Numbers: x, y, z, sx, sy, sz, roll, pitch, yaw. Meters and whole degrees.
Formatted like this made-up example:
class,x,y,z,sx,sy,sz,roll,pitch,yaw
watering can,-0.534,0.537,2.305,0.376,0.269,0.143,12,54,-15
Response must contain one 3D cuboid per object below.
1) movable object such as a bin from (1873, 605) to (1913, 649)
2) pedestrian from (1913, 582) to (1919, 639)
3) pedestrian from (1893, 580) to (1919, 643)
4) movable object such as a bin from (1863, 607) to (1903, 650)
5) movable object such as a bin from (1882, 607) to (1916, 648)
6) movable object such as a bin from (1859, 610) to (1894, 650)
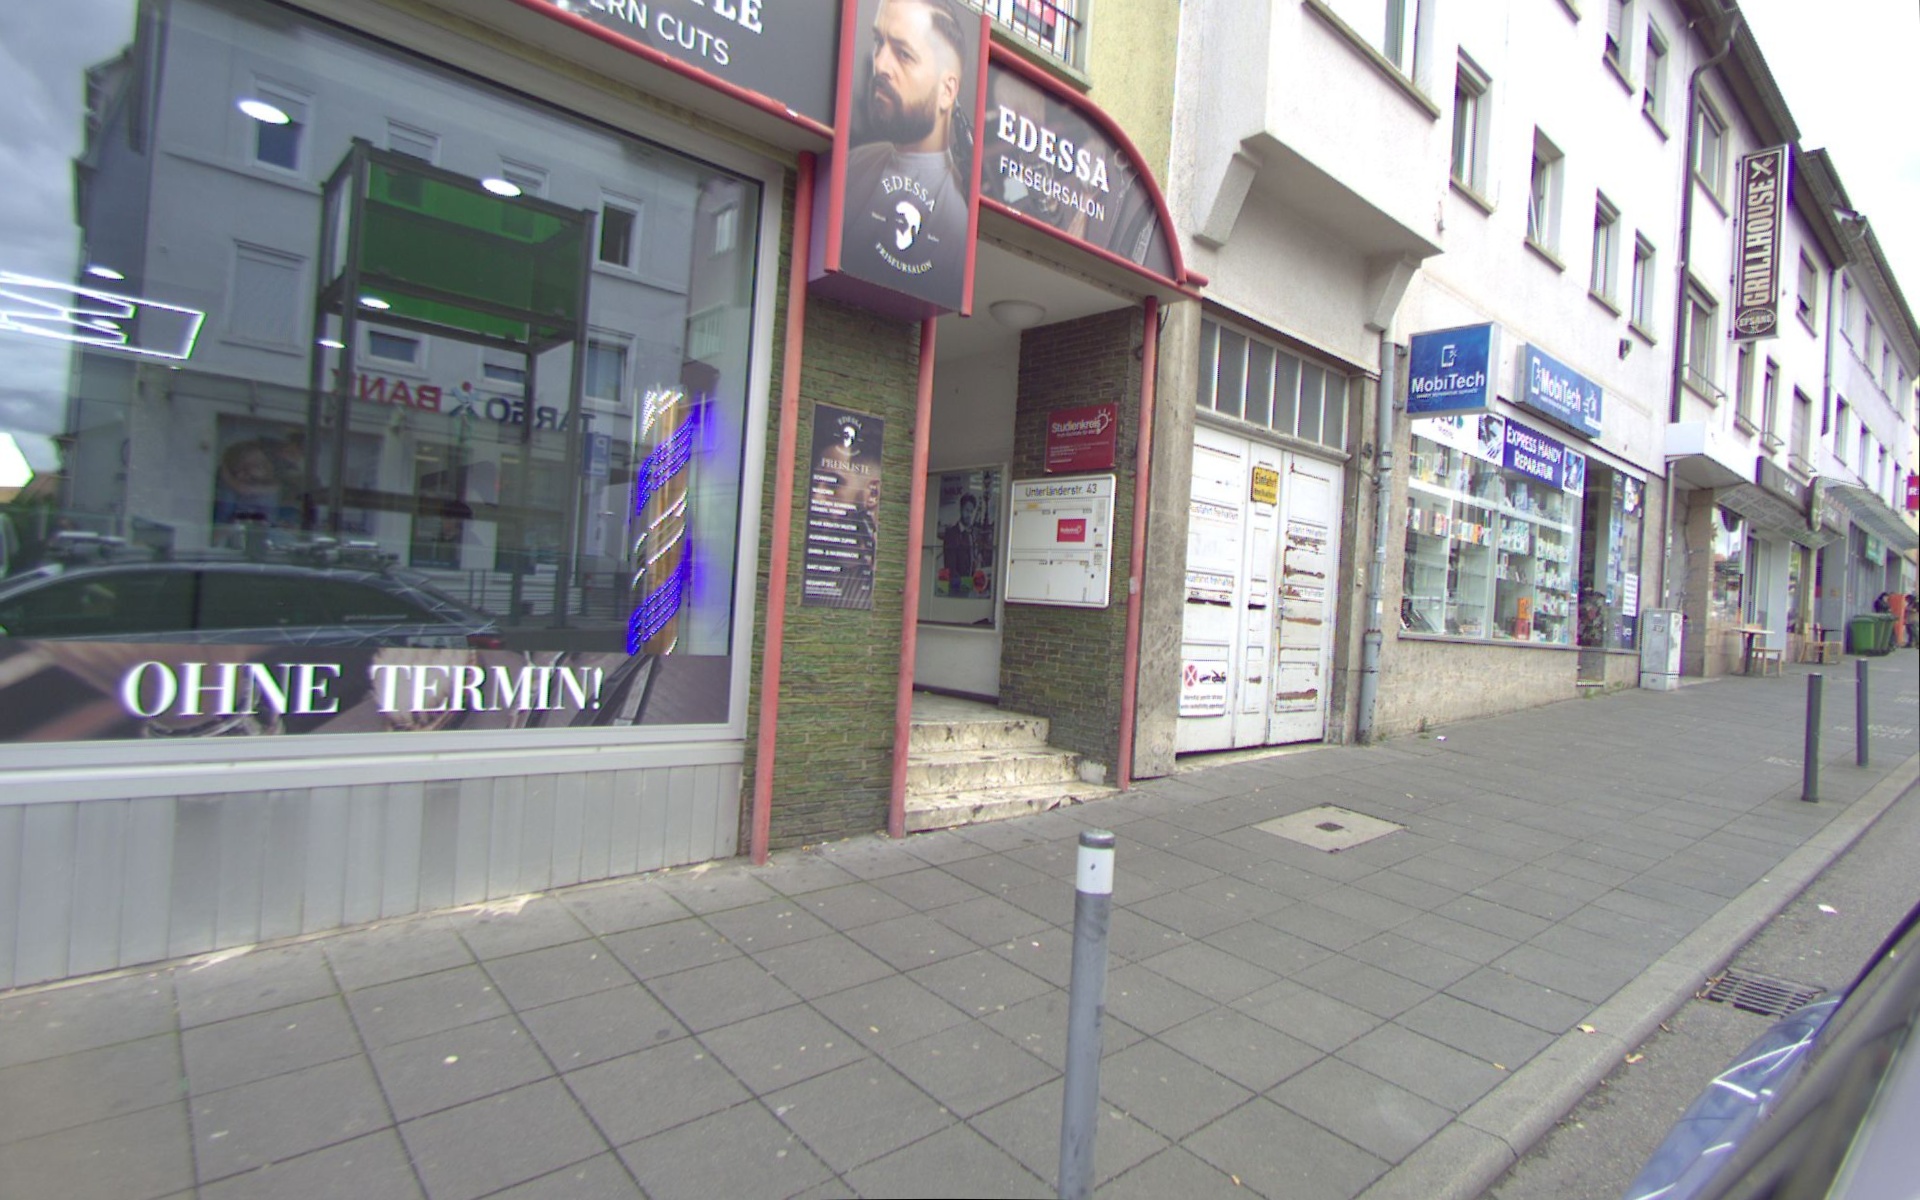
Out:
class,x,y,z,sx,sy,sz,roll,pitch,yaw
movable object such as a bin,24.144,0.699,26.184,0.661,1.094,0.652,1,1,-41
pedestrian,29.936,0.336,31.255,0.626,1.746,0.597,5,3,44
pedestrian,26.667,0.322,28.347,0.621,1.748,0.601,0,0,26
movable object such as a bin,23.570,0.723,25.854,0.550,1.043,0.670,1,1,-41
movable object such as a bin,25.141,0.727,27.102,0.564,1.073,0.569,1,1,-41
movable object such as a bin,23.085,0.739,25.495,0.490,0.968,0.568,1,1,-41
